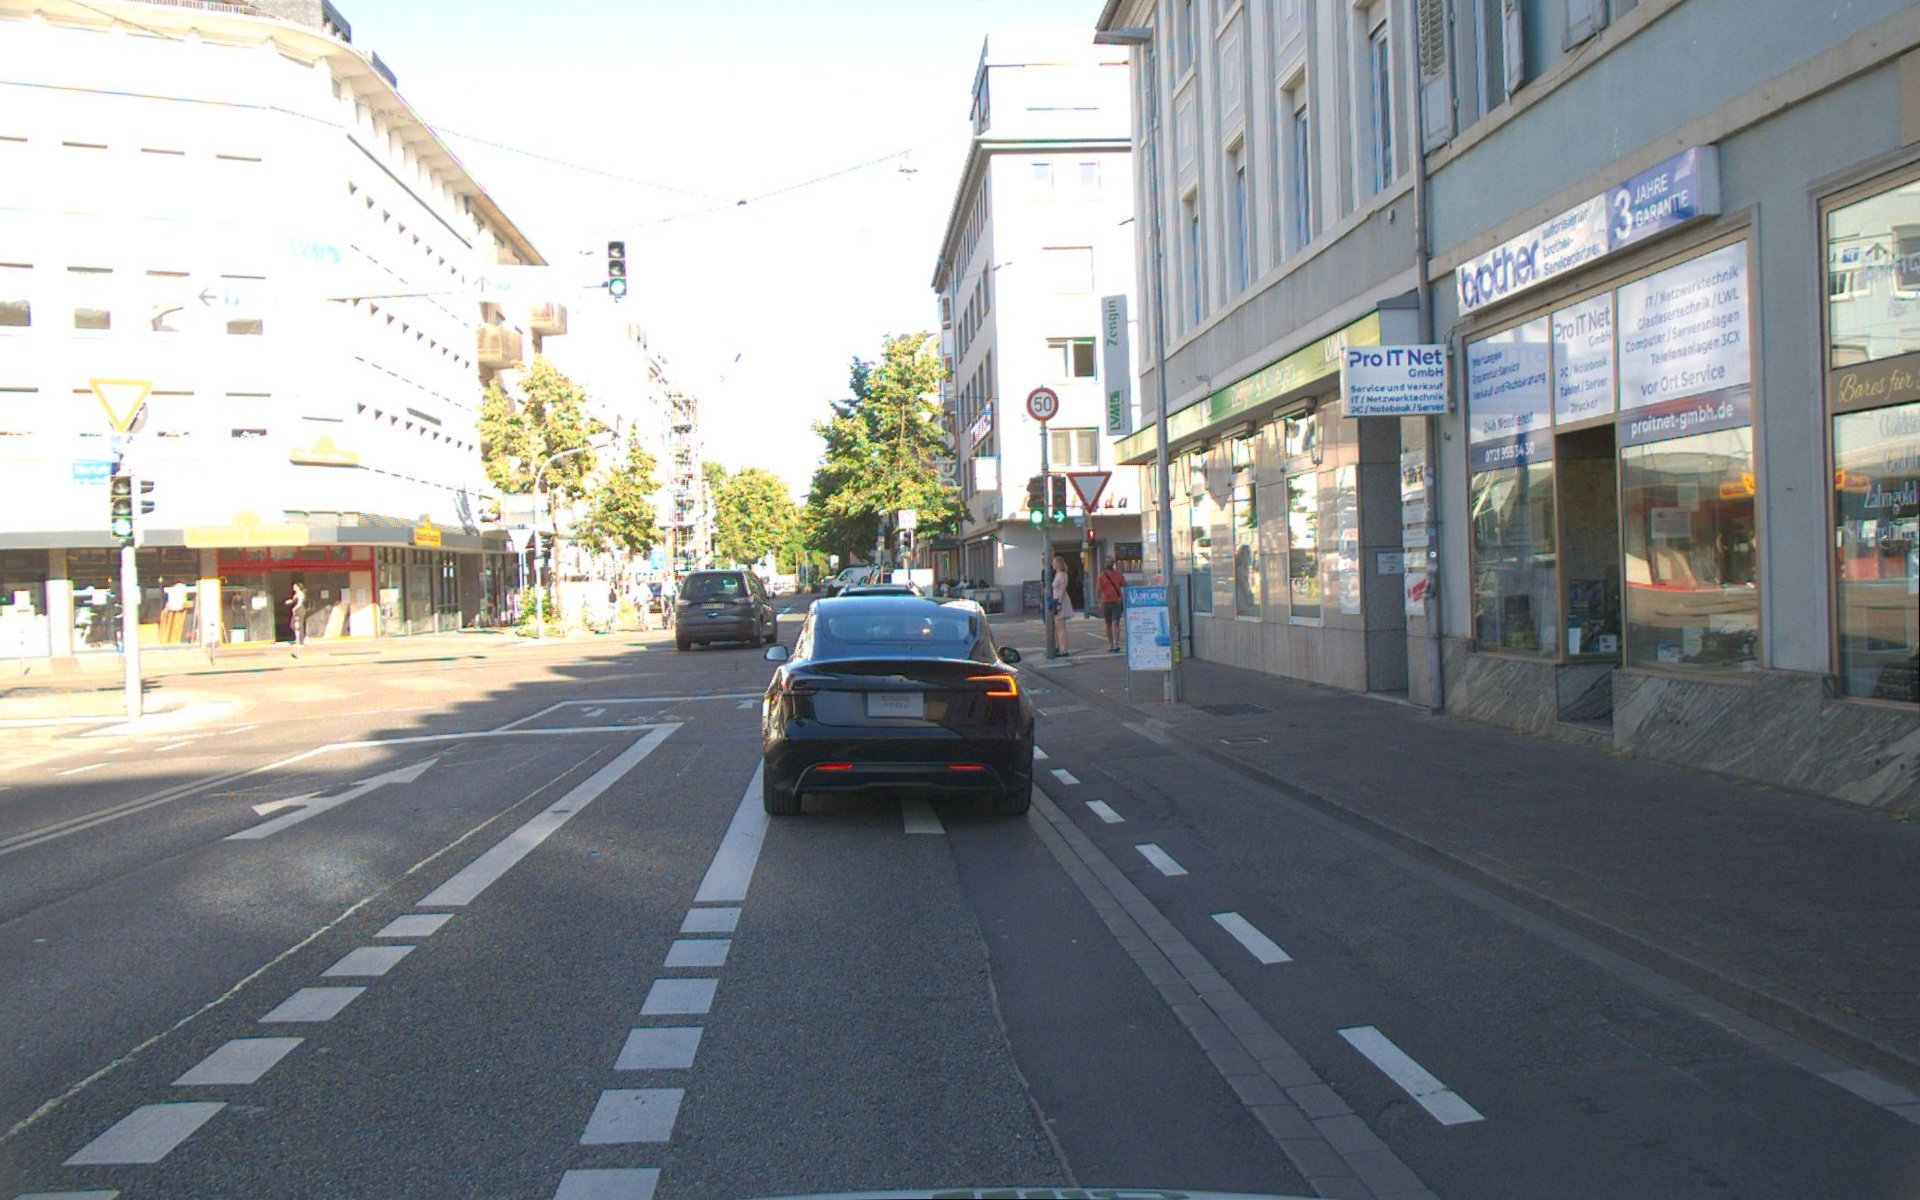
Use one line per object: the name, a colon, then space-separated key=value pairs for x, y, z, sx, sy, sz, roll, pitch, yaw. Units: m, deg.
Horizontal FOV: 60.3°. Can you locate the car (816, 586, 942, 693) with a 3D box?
car: x=-1.161 y=0.538 z=25.524 sx=1.726 sy=1.443 sz=4.354 roll=-2 pitch=1 yaw=-1

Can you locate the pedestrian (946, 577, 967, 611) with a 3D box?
pedestrian: x=-0.148 y=-0.261 z=70.045 sx=0.717 sy=1.370 sz=1.058 roll=-3 pitch=1 yaw=-7

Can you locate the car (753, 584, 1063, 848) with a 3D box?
car: x=-0.433 y=0.683 z=12.255 sx=1.833 sy=1.452 sz=4.362 roll=-3 pitch=1 yaw=-3

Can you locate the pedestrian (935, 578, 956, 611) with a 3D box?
pedestrian: x=-0.621 y=-0.258 z=71.120 sx=0.696 sy=1.370 sz=1.058 roll=-3 pitch=1 yaw=-7

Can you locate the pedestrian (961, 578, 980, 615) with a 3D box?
pedestrian: x=0.380 y=-0.128 z=60.569 sx=0.575 sy=1.335 sz=0.560 roll=-3 pitch=0 yaw=-4

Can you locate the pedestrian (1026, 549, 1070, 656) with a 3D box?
pedestrian: x=1.584 y=0.037 z=29.850 sx=0.627 sy=1.874 sz=0.681 roll=-3 pitch=1 yaw=-5

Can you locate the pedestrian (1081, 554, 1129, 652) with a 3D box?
pedestrian: x=2.656 y=0.054 z=30.378 sx=0.676 sy=1.732 sz=0.912 roll=-3 pitch=1 yaw=-3

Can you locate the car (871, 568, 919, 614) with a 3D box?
car: x=-2.877 y=-0.427 z=72.443 sx=1.866 sy=1.884 sz=4.285 roll=-2 pitch=1 yaw=-4

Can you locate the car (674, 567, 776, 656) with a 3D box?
car: x=-5.137 y=0.211 z=36.625 sx=1.866 sy=1.763 sz=4.285 roll=-2 pitch=1 yaw=-4

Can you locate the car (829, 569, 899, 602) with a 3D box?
car: x=-7.429 y=-1.124 z=127.509 sx=5.287 sy=2.183 sz=1.998 roll=-3 pitch=1 yaw=-6

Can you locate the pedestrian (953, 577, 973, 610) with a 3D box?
pedestrian: x=0.132 y=-0.300 z=71.339 sx=0.716 sy=1.384 sz=0.958 roll=-3 pitch=1 yaw=-5

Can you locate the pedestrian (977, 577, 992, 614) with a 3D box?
pedestrian: x=0.903 y=-0.165 z=61.386 sx=0.477 sy=1.345 sz=0.654 roll=-3 pitch=1 yaw=3

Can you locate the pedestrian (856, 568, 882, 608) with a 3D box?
pedestrian: x=-4.530 y=-0.609 z=82.374 sx=0.937 sy=1.948 sz=1.106 roll=-3 pitch=1 yaw=12

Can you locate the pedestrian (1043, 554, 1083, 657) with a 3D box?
pedestrian: x=1.822 y=0.098 z=29.324 sx=0.561 sy=1.790 sz=0.649 roll=-2 pitch=1 yaw=-5

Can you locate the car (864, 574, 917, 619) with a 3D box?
car: x=-2.808 y=-0.167 z=66.008 sx=1.961 sy=1.664 sz=4.285 roll=-2 pitch=1 yaw=-4
